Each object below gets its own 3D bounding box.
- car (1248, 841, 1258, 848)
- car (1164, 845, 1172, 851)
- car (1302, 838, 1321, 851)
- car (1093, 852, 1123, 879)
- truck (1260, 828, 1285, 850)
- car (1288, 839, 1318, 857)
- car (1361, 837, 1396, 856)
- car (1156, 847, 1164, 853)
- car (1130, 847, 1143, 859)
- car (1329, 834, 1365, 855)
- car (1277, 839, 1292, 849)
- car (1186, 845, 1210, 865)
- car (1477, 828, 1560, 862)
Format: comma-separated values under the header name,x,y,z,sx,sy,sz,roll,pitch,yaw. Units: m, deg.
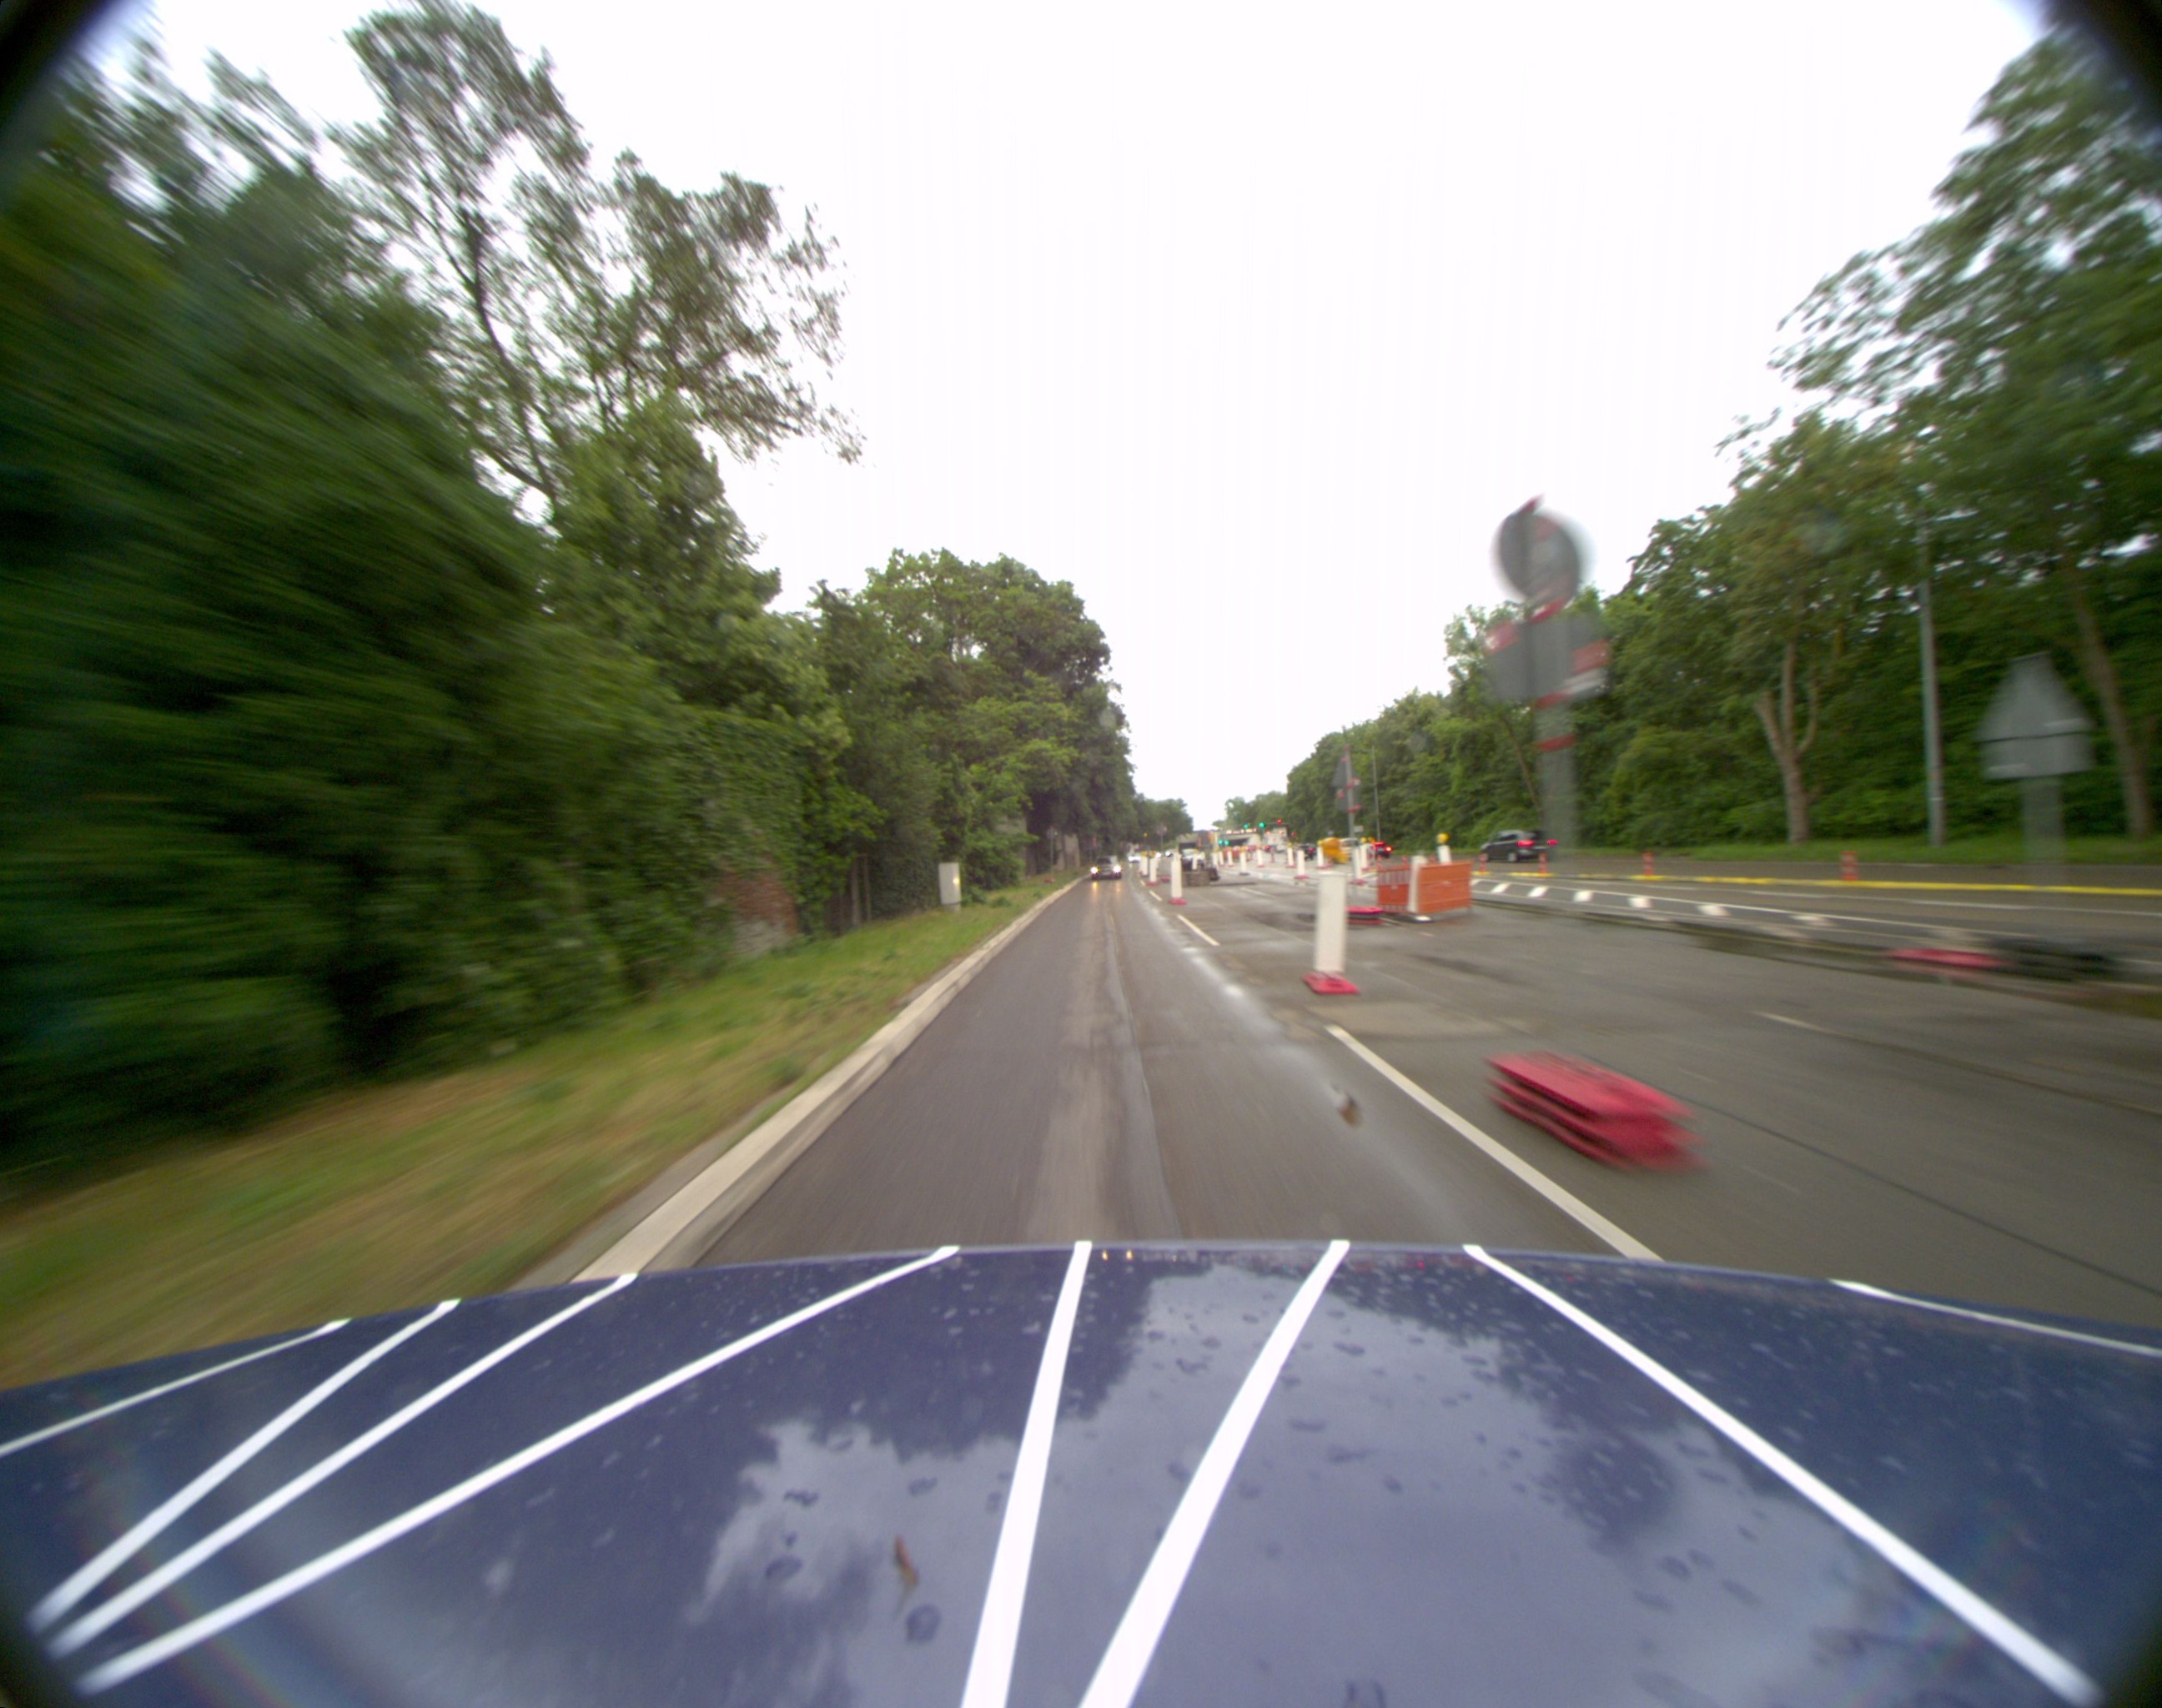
name,x,y,z,sx,sy,sz,roll,pitch,yaw
car,35.553,-1.983,156.969,1.864,1.487,4.180,-2,0,11
car,19.832,-1.371,173.338,1.710,1.434,4.233,-2,1,9
car,28.530,-1.144,93.965,1.678,1.487,3.772,-2,0,9
car,1.702,0.677,47.205,1.701,1.477,4.000,-2,1,4
truck,35.018,-2.748,139.317,3.149,3.809,9.650,-2,1,8
car,20.227,-0.554,69.251,1.743,1.487,3.770,-2,0,2
car,24.567,-0.650,62.861,1.624,1.475,3.608,-2,0,3
car,18.997,-0.929,182.665,1.710,1.434,4.232,-2,1,7
car,8.436,-0.166,114.751,1.707,1.681,4.473,-2,1,6
car,21.224,-0.744,60.745,1.678,1.604,3.770,-2,0,3
car,32.801,-1.564,122.449,1.907,1.487,3.772,-2,0,9
car,10.226,0.056,66.579,1.793,1.575,3.862,-4,0,5
car,22.546,-0.432,39.411,1.678,1.604,4.767,-2,0,2
